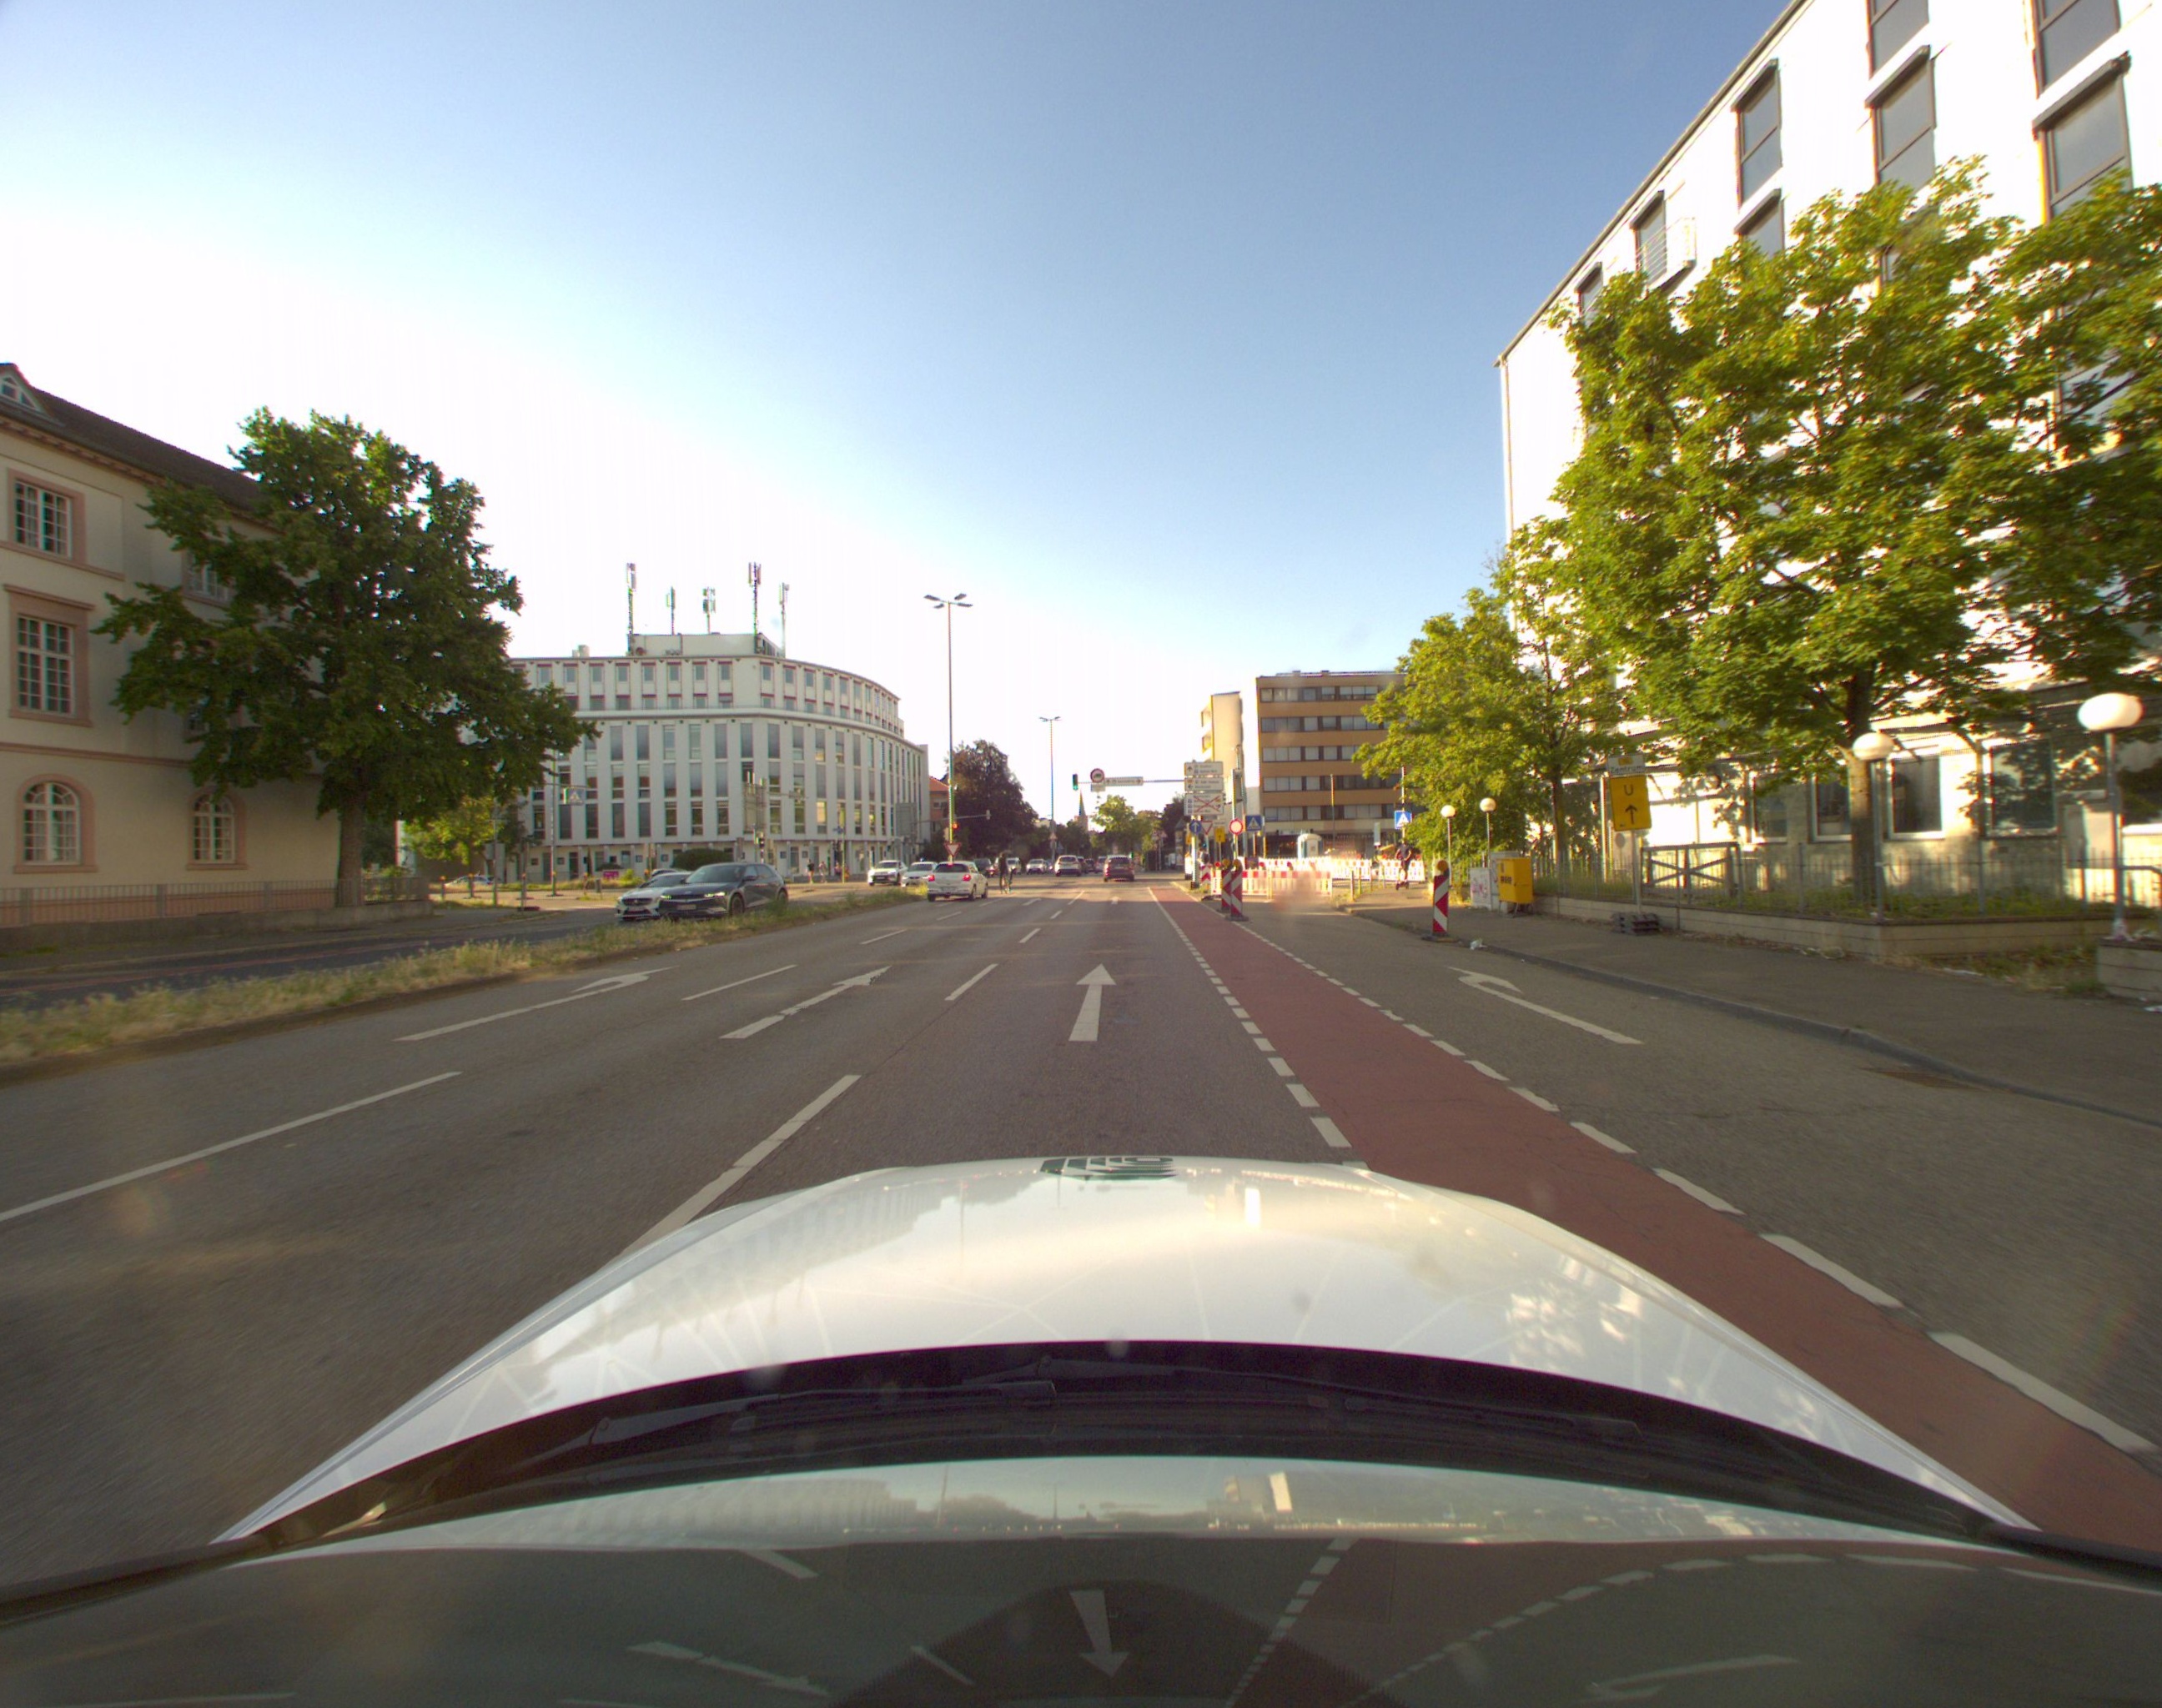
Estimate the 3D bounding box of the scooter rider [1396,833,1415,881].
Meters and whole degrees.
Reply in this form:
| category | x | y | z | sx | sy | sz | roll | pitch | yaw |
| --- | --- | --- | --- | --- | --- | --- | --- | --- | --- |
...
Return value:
| category | x | y | z | sx | sy | sz | roll | pitch | yaw |
| --- | --- | --- | --- | --- | --- | --- | --- | --- | --- |
| scooter rider | 12.191 | 0.123 | 30.593 | 0.609 | 1.790 | 0.489 | -2 | -1 | 24 |

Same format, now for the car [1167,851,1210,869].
| category | x | y | z | sx | sy | sz | roll | pitch | yaw |
| --- | --- | --- | --- | --- | --- | --- | --- | --- | --- |
| car | 11.679 | 0.664 | 88.793 | 4.348 | 1.877 | 2.000 | -2 | 0 | 1 |

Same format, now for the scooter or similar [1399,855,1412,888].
| category | x | y | z | sx | sy | sz | roll | pitch | yaw |
| --- | --- | --- | --- | --- | --- | --- | --- | --- | --- |
| scooter or similar | 12.184 | 0.644 | 30.579 | 0.327 | 1.194 | 1.258 | -2 | -1 | 25 |

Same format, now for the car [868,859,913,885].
| category | x | y | z | sx | sy | sz | roll | pitch | yaw |
| --- | --- | --- | --- | --- | --- | --- | --- | --- | --- |
| car | -12.019 | 1.108 | 51.574 | 1.679 | 1.498 | 4.515 | -2 | 0 | 1 |

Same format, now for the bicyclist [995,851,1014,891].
| category | x | y | z | sx | sy | sz | roll | pitch | yaw |
| --- | --- | --- | --- | --- | --- | --- | --- | --- | --- |
| bicyclist | -3.384 | 0.741 | 36.211 | 0.688 | 1.728 | 0.987 | -2 | -1 | 0 |

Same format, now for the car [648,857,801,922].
| category | x | y | z | sx | sy | sz | roll | pitch | yaw |
| --- | --- | --- | --- | --- | --- | --- | --- | --- | --- |
| car | -9.855 | 0.907 | 23.032 | 1.986 | 1.578 | 4.901 | -2 | 0 | 2 |

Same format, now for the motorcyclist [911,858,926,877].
| category | x | y | z | sx | sy | sz | roll | pitch | yaw |
| --- | --- | --- | --- | --- | --- | --- | --- | --- | --- |
| motorcyclist | -11.953 | 0.984 | 59.835 | 0.767 | 1.419 | 1.238 | -2 | 0 | 1 |

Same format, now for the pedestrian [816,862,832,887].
| category | x | y | z | sx | sy | sz | roll | pitch | yaw |
| --- | --- | --- | --- | --- | --- | --- | --- | --- | --- |
| pedestrian | -19.279 | 1.548 | 61.005 | 0.753 | 1.842 | 0.822 | -2 | -1 | 16 |

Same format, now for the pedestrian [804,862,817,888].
| category | x | y | z | sx | sy | sz | roll | pitch | yaw |
| --- | --- | --- | --- | --- | --- | --- | --- | --- | --- |
| pedestrian | -20.183 | 1.572 | 60.793 | 0.658 | 1.859 | 0.778 | -2 | -1 | -2 |

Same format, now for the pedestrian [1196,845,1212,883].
| category | x | y | z | sx | sy | sz | roll | pitch | yaw |
| --- | --- | --- | --- | --- | --- | --- | --- | --- | --- |
| pedestrian | 5.919 | 0.493 | 39.150 | 0.737 | 1.799 | 0.717 | -2 | -1 | 8 |

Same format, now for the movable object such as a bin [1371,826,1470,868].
| category | x | y | z | sx | sy | sz | roll | pitch | yaw |
| --- | --- | --- | --- | --- | --- | --- | --- | --- | --- |
| movable object such as a bin | 22.066 | -0.454 | 53.100 | 5.332 | 2.490 | 2.548 | -2 | 0 | 0 |

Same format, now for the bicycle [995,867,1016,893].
| category | x | y | z | sx | sy | sz | roll | pitch | yaw |
| --- | --- | --- | --- | --- | --- | --- | --- | --- | --- |
| bicycle | -3.370 | 1.146 | 36.339 | 0.697 | 1.100 | 2.257 | -2 | 0 | 0 |

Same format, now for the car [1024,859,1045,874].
| category | x | y | z | sx | sy | sz | roll | pitch | yaw |
| --- | --- | --- | --- | --- | --- | --- | --- | --- | --- |
| car | -4.619 | 1.237 | 81.297 | 1.841 | 1.461 | 4.049 | -2 | 0 | 0 |

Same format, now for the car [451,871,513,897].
| category | x | y | z | sx | sy | sz | roll | pitch | yaw |
| --- | --- | --- | --- | --- | --- | --- | --- | --- | --- |
| car | -48.176 | 2.402 | 65.517 | 3.892 | 1.736 | 1.752 | -1 | -8 | -40 |

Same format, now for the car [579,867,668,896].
| category | x | y | z | sx | sy | sz | roll | pitch | yaw |
| --- | --- | --- | --- | --- | --- | --- | --- | --- | --- |
| car | -27.755 | 1.653 | 49.489 | 4.322 | 1.629 | 2.004 | -2 | 0 | 6 |

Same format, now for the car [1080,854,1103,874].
| category | x | y | z | sx | sy | sz | roll | pitch | yaw |
| --- | --- | --- | --- | --- | --- | --- | --- | --- | --- |
| car | 0.902 | 0.809 | 69.035 | 1.741 | 1.564 | 4.053 | -2 | 0 | 3 |

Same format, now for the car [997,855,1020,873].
| category | x | y | z | sx | sy | sz | roll | pitch | yaw |
| --- | --- | --- | --- | --- | --- | --- | --- | --- | --- |
| car | -7.507 | 1.007 | 84.826 | 1.909 | 1.811 | 4.717 | -2 | 0 | 0 |

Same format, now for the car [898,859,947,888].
| category | x | y | z | sx | sy | sz | roll | pitch | yaw |
| --- | --- | --- | --- | --- | --- | --- | --- | --- | --- |
| car | -8.513 | 1.017 | 44.051 | 1.678 | 1.392 | 4.183 | -2 | 0 | 2 |

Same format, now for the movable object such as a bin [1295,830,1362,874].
| category | x | y | z | sx | sy | sz | roll | pitch | yaw |
| --- | --- | --- | --- | --- | --- | --- | --- | --- | --- |
| movable object such as a bin | 14.118 | -0.089 | 46.603 | 3.316 | 2.383 | 1.529 | -2 | -1 | 1 |

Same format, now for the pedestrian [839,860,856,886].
| category | x | y | z | sx | sy | sz | roll | pitch | yaw |
| --- | --- | --- | --- | --- | --- | --- | --- | --- | --- |
| pedestrian | -17.356 | 1.417 | 60.505 | 0.621 | 1.868 | 1.133 | -2 | -1 | 24 |

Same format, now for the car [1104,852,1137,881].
| category | x | y | z | sx | sy | sz | roll | pitch | yaw |
| --- | --- | --- | --- | --- | --- | --- | --- | --- | --- |
| car | 2.297 | 0.704 | 46.843 | 1.741 | 1.564 | 4.053 | -2 | 0 | 3 |

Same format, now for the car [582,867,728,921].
| category | x | y | z | sx | sy | sz | roll | pitch | yaw |
| --- | --- | --- | --- | --- | --- | --- | --- | --- | --- |
| car | -13.249 | 1.184 | 25.710 | 1.985 | 1.413 | 4.448 | -3 | 0 | 4 |

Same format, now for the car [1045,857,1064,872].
| category | x | y | z | sx | sy | sz | roll | pitch | yaw |
| --- | --- | --- | --- | --- | --- | --- | --- | --- | --- |
| car | -2.794 | 1.094 | 87.245 | 1.841 | 1.461 | 4.049 | -2 | 0 | 0 |

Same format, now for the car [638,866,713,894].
| category | x | y | z | sx | sy | sz | roll | pitch | yaw |
| --- | --- | --- | --- | --- | --- | --- | --- | --- | --- |
| car | -25.981 | 1.673 | 52.213 | 3.797 | 1.530 | 1.862 | -3 | -2 | -1 |

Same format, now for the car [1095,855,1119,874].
| category | x | y | z | sx | sy | sz | roll | pitch | yaw |
| --- | --- | --- | --- | --- | --- | --- | --- | --- | --- |
| car | 2.356 | 0.962 | 74.001 | 1.986 | 1.508 | 4.001 | -3 | -2 | 2 |

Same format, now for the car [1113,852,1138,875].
| category | x | y | z | sx | sy | sz | roll | pitch | yaw |
| --- | --- | --- | --- | --- | --- | --- | --- | --- | --- |
| car | 3.371 | 0.718 | 62.042 | 1.812 | 1.640 | 4.002 | -2 | 0 | 2 |

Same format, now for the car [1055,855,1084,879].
| category | x | y | z | sx | sy | sz | roll | pitch | yaw |
| --- | --- | --- | --- | --- | --- | --- | --- | --- | --- |
| car | -0.753 | 0.906 | 58.102 | 1.741 | 1.564 | 4.053 | -2 | 0 | 3 |

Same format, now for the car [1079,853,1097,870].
| category | x | y | z | sx | sy | sz | roll | pitch | yaw |
| --- | --- | --- | --- | --- | --- | --- | --- | --- | --- |
| car | 0.813 | 0.798 | 88.408 | 1.657 | 1.657 | 4.004 | -2 | 0 | 3 |

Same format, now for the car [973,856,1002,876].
| category | x | y | z | sx | sy | sz | roll | pitch | yaw |
| --- | --- | --- | --- | --- | --- | --- | --- | --- | --- |
| car | -7.341 | 0.928 | 64.273 | 1.652 | 1.494 | 4.001 | -2 | 0 | 1 |

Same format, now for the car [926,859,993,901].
| category | x | y | z | sx | sy | sz | roll | pitch | yaw |
| --- | --- | --- | --- | --- | --- | --- | --- | --- | --- |
| car | -4.585 | 0.947 | 31.271 | 1.677 | 1.457 | 4.004 | -1 | 0 | 4 |

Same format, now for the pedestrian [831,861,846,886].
| category | x | y | z | sx | sy | sz | roll | pitch | yaw |
| --- | --- | --- | --- | --- | --- | --- | --- | --- | --- |
| pedestrian | -18.099 | 1.464 | 60.860 | 0.654 | 1.868 | 0.783 | -2 | -1 | 28 |
